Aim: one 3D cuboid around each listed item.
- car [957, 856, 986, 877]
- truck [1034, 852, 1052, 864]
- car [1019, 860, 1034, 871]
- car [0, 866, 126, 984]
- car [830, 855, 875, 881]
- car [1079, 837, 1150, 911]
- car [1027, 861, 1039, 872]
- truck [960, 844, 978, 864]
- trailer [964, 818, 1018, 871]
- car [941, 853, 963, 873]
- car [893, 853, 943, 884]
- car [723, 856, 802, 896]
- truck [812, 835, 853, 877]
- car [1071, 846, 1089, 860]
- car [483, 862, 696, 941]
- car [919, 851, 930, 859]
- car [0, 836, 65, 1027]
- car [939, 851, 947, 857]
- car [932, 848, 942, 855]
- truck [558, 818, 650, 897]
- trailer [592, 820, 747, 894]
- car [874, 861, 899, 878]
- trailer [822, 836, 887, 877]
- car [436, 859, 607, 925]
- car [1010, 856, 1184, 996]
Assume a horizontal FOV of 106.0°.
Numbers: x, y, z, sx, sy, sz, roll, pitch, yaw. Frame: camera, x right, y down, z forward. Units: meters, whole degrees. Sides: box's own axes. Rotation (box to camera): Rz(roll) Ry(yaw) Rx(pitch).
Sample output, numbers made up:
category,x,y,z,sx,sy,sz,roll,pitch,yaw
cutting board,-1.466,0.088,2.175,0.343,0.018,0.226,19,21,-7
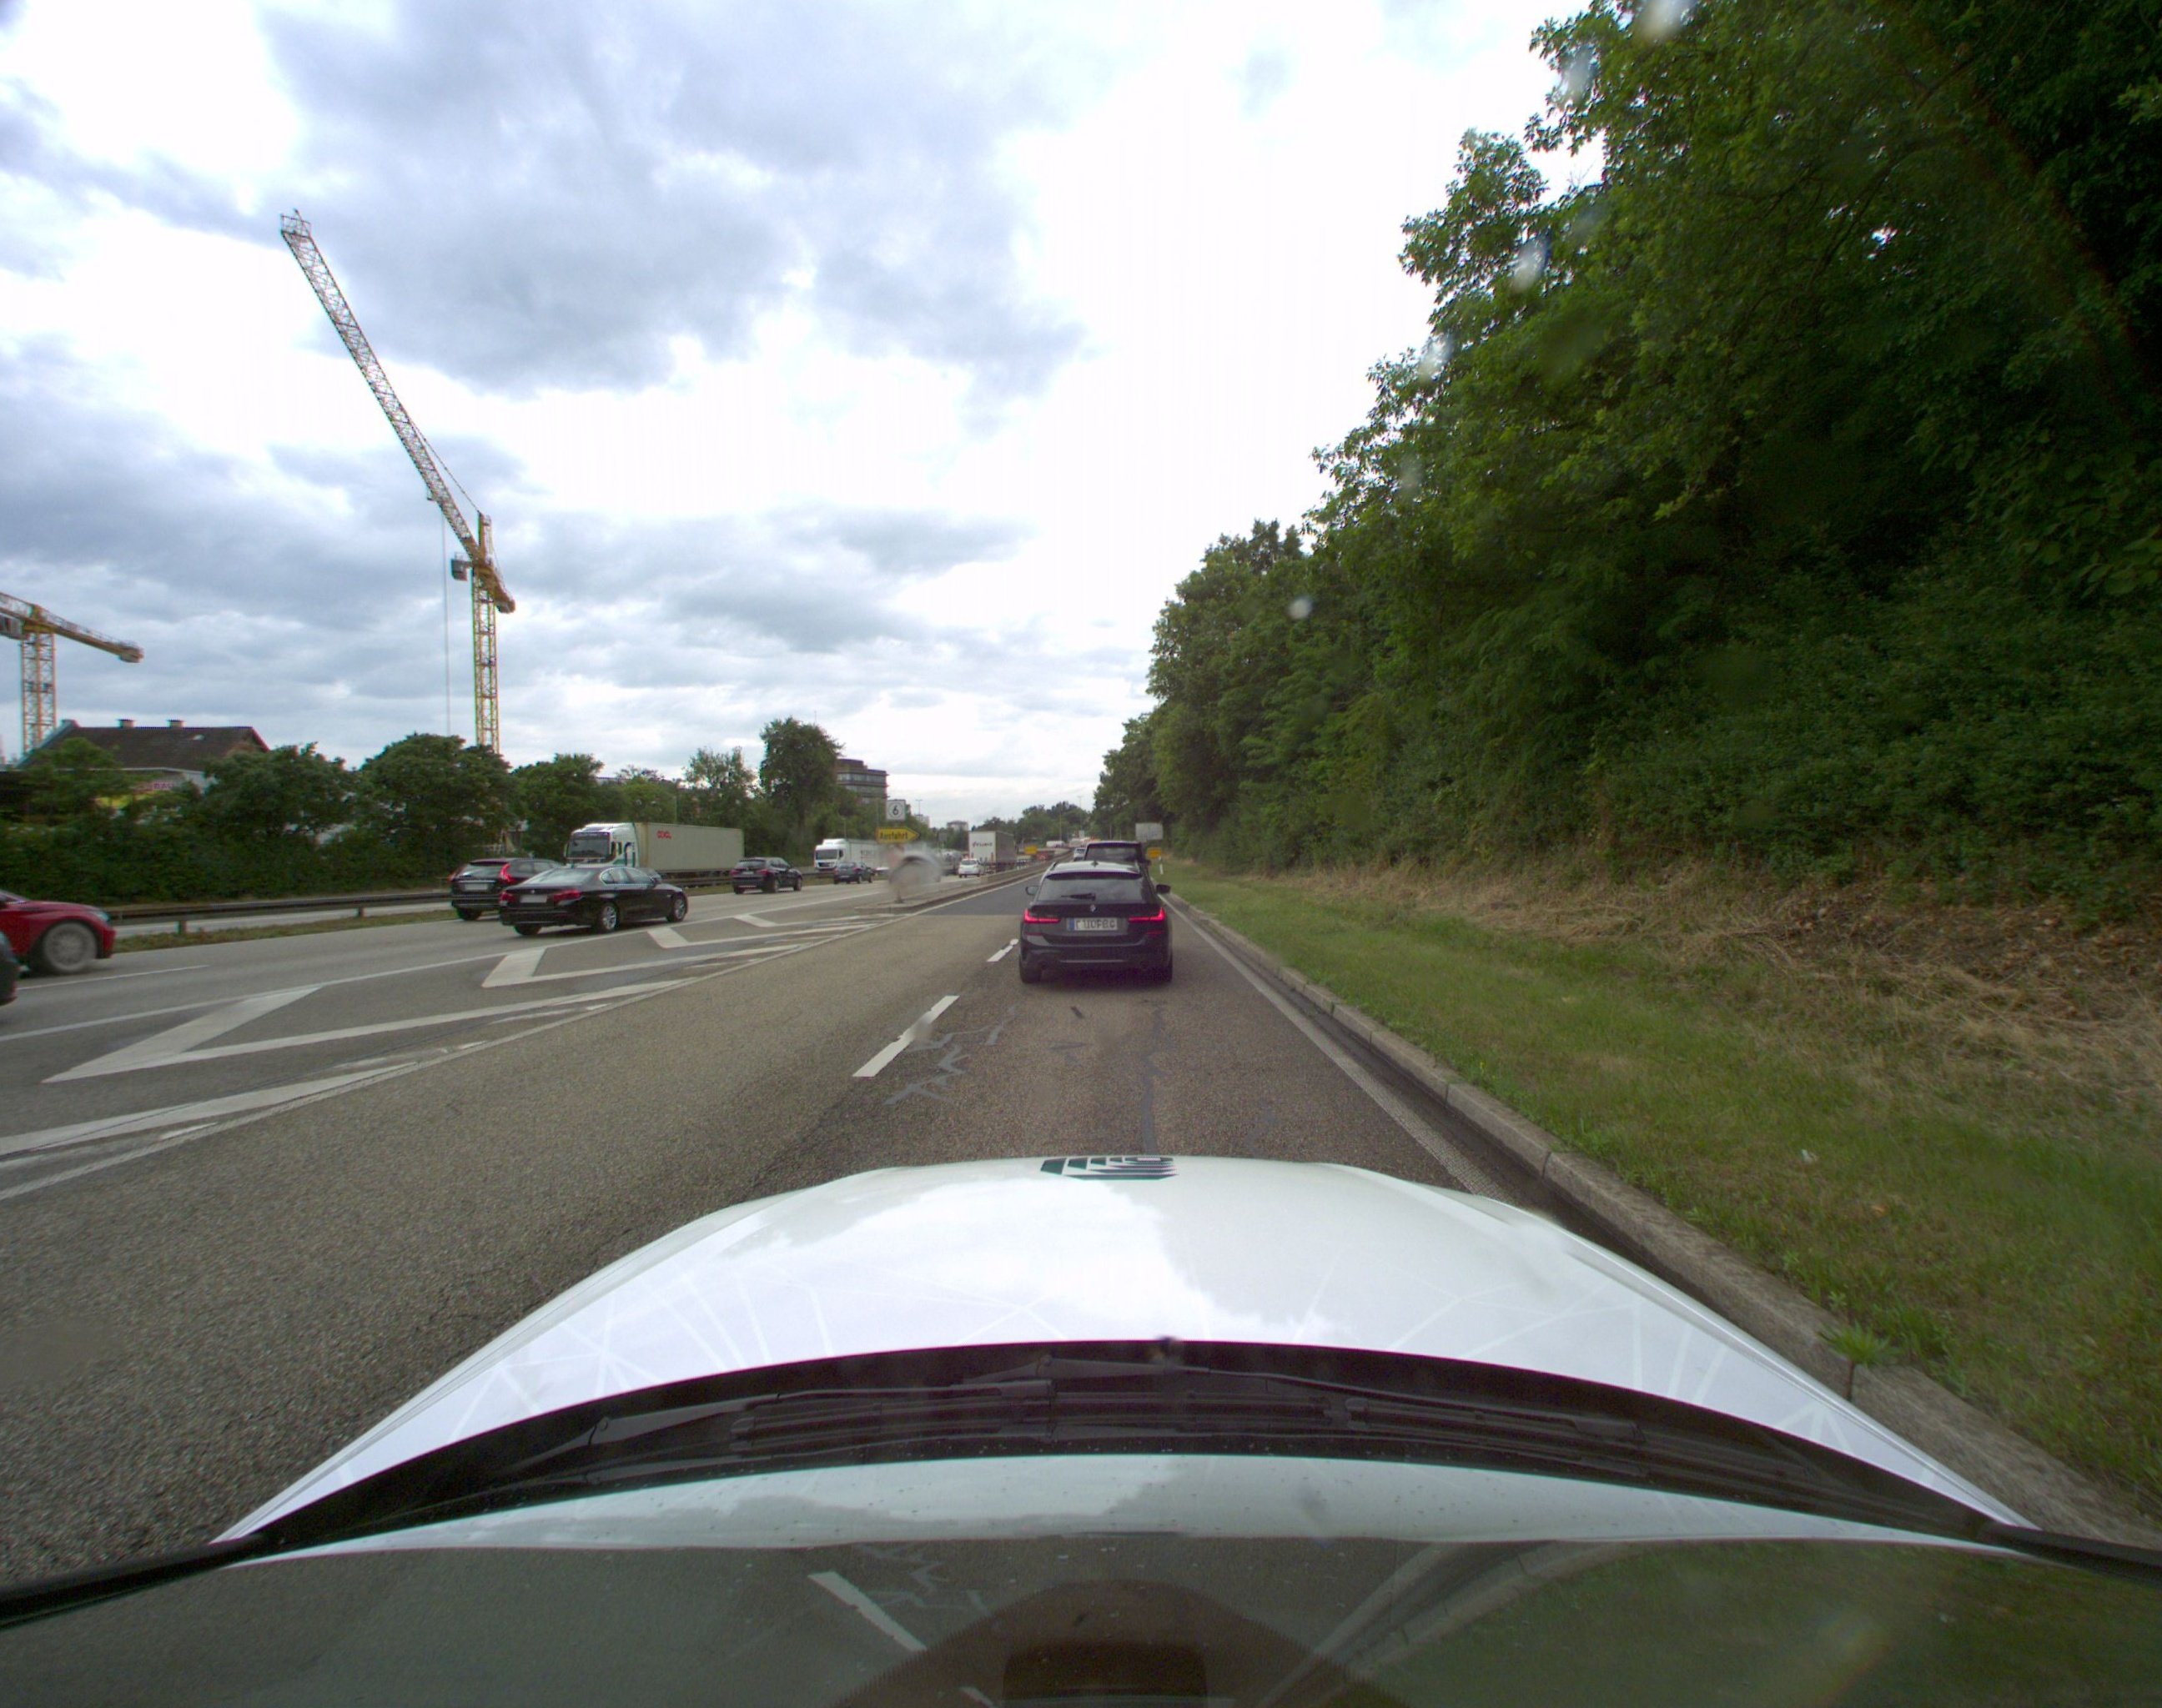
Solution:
category,x,y,z,sx,sy,sz,roll,pitch,yaw
car,-8.634,0.939,64.397,1.762,1.549,3.493,-1,0,1
truck,-8.580,0.901,183.762,3.262,2.509,7.664,-1,0,2
car,-7.516,1.564,112.706,1.695,1.528,3.471,-1,0,2
car,-15.556,0.993,10.467,1.759,1.567,3.948,-1,0,3
car,-14.771,0.906,52.779,1.681,1.608,4.009,0,0,1
car,0.950,0.515,23.020,1.789,1.872,4.002,-1,0,2
car,-7.208,1.894,122.804,1.442,1.490,3.064,-1,0,3
truck,-23.754,0.066,173.128,2.752,4.064,4.909,-1,0,2
trailer,-8.586,-0.816,79.914,3.120,4.725,14.565,0,0,2
car,-13.223,0.906,83.705,1.437,2.044,3.683,-1,0,3
car,-9.643,0.824,48.517,1.939,1.692,4.509,-1,0,2
car,-14.825,0.969,38.178,1.884,1.681,4.307,-1,0,1
truck,-24.347,0.224,80.012,2.586,3.990,4.002,-1,0,2
car,-0.090,-0.112,98.592,1.922,1.596,3.880,-1,0,3
car,-10.679,0.955,18.190,1.705,1.457,4.670,-1,0,3
car,-32.037,0.263,166.972,1.432,1.574,3.245,-1,0,2
car,-11.553,0.769,6.017,1.987,1.851,4.812,-1,0,1
car,-34.774,-0.100,204.736,1.433,1.446,3.243,-1,0,0
car,-32.863,-0.577,186.108,1.432,1.586,3.245,-1,0,2
truck,-25.850,0.177,44.324,2.396,4.020,4.003,-1,0,3
trailer,-25.444,0.169,51.522,2.387,4.029,13.089,-1,0,3
car,-19.759,1.582,82.804,1.591,1.584,3.565,-1,0,2
trailer,-24.102,0.229,87.582,2.584,3.982,13.788,-1,0,2
car,-15.659,0.989,23.116,1.745,1.635,4.269,-1,0,2
car,0.200,0.781,10.773,1.840,1.467,4.000,-1,0,1
